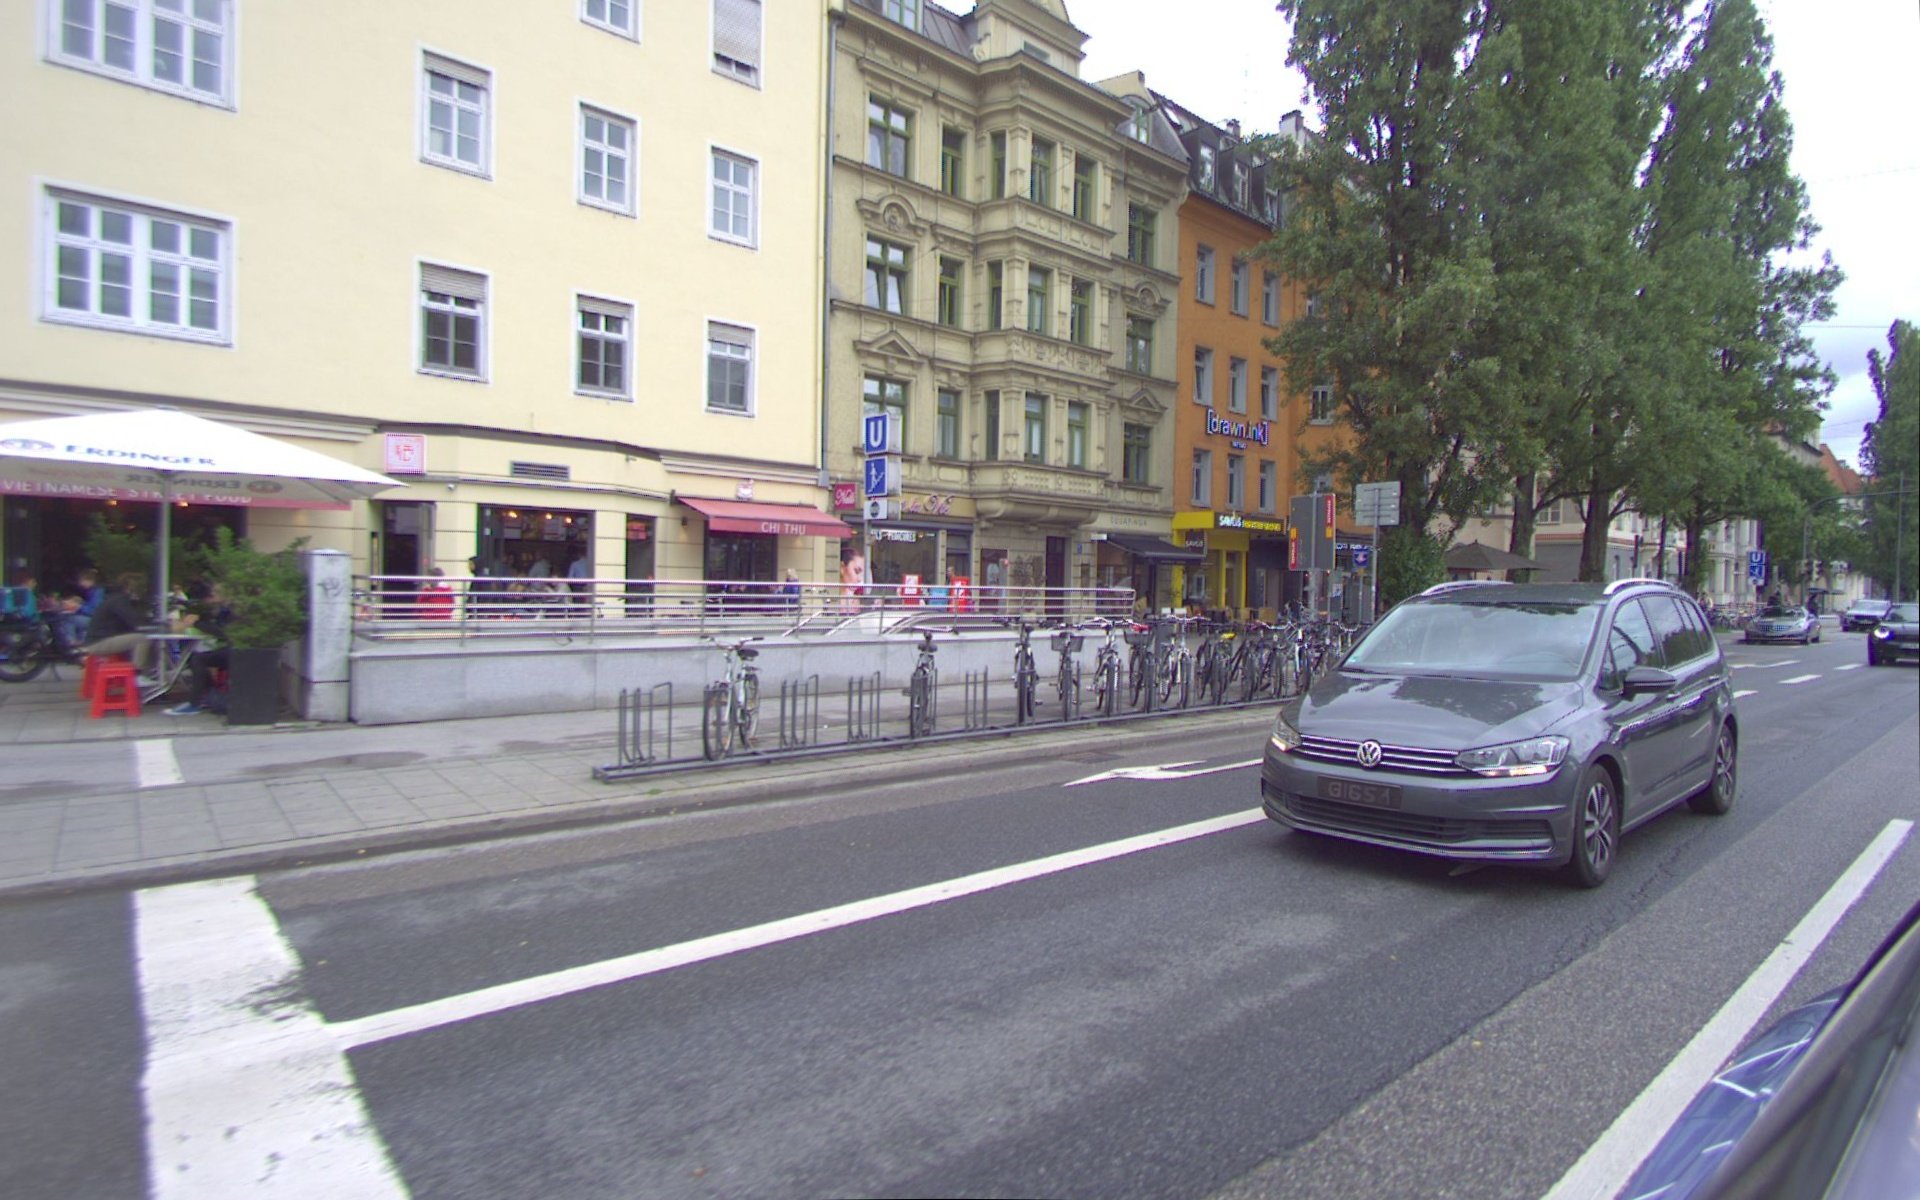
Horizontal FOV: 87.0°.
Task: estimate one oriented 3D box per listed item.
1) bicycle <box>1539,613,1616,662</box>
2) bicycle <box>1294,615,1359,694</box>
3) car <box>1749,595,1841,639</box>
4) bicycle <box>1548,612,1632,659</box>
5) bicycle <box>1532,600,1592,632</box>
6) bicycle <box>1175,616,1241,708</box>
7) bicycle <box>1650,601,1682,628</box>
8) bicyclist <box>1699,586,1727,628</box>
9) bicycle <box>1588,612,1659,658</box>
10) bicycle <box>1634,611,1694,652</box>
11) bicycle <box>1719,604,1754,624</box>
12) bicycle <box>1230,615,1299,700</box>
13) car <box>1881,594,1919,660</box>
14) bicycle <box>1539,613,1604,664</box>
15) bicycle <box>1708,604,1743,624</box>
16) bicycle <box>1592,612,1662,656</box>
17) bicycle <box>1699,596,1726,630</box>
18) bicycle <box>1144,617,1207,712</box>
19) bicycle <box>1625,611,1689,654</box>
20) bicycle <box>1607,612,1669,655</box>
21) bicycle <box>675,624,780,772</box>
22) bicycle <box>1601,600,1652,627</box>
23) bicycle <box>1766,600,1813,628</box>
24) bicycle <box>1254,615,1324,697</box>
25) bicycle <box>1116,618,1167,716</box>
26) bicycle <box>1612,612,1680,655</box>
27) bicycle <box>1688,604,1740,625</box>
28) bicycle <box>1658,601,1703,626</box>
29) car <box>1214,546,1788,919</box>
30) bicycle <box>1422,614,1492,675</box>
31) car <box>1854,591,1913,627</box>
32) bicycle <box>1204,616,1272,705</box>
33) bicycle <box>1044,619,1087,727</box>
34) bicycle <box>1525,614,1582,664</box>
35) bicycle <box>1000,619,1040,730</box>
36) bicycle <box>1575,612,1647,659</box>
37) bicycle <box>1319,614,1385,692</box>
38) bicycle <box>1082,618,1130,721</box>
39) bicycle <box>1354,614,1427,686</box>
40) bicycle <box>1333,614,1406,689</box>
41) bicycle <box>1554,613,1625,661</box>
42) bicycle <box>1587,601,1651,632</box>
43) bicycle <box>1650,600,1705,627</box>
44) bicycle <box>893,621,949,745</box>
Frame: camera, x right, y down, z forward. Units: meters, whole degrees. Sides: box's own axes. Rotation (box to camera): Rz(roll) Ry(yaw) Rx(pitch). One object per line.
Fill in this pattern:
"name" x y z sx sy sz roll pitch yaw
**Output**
"bicycle" 13.503 0.804 22.202 0.318 1.008 1.845 2 0 -8
"bicycle" 5.401 0.774 14.997 0.341 1.008 1.841 1 2 3
"car" 30.356 0.579 36.757 4.453 1.458 1.996 0 2 -43
"bicycle" 14.443 0.803 23.244 0.367 1.008 1.846 2 0 -16
"bicycle" 22.636 0.599 38.074 0.450 1.127 1.890 0 1 -43
"bicycle" 3.195 0.769 13.160 0.341 1.008 1.843 1 2 -1
"bicycle" 26.279 0.522 37.667 1.624 0.977 0.590 0 1 -41
"bicyclist" 29.491 0.276 39.627 0.923 1.623 0.681 0 1 -41
"bicycle" 15.691 0.806 23.970 0.368 1.008 1.843 2 0 -3
"bicycle" 18.201 0.806 26.217 0.368 1.008 1.840 1 0 4
"bicycle" 40.180 0.723 52.396 1.801 1.036 0.393 0 0 -14
"bicycle" 4.237 0.770 14.182 0.341 1.008 1.843 1 2 -1
"car" 23.828 0.602 24.533 3.901 1.523 1.778 0 0 -41
"bicycle" 13.084 0.803 21.706 0.319 1.008 1.841 1 0 2
"bicycle" 39.925 0.734 52.770 1.801 0.990 0.393 0 0 -14
"bicycle" 16.091 0.807 24.466 0.368 1.008 1.843 2 0 -3
"bicycle" 29.528 0.498 39.700 1.747 1.304 0.424 0 1 -40
"bicycle" 2.689 0.769 12.746 0.341 1.008 1.843 1 2 -1
"bicycle" 17.671 0.806 25.704 0.368 1.008 1.841 1 0 1
"bicycle" 16.663 0.806 24.911 0.368 1.008 1.840 1 0 3
"bicycle" -1.935 0.769 8.628 0.342 1.008 1.841 1 2 4
"bicycle" 28.577 0.571 43.403 0.439 1.123 1.802 1 0 -38
"bicycle" 34.483 0.575 42.077 0.352 1.116 1.747 1 1 -6
"bicycle" 4.721 0.770 14.607 0.341 1.008 1.843 1 2 -1
"bicycle" 2.184 0.769 12.298 0.341 1.008 1.841 1 2 2
"bicycle" 17.128 0.806 25.310 0.368 1.008 1.843 2 0 -2
"bicycle" 34.034 0.648 45.681 0.385 0.928 1.837 0 0 -39
"bicycle" 32.069 0.604 45.053 0.385 1.063 1.575 0 0 -39
"car" 3.816 0.597 6.715 4.625 1.668 1.774 0 -1 -40
"bicycle" 8.927 0.775 18.252 0.319 1.008 1.842 1 0 -1
"car" 46.886 0.425 51.359 4.425 1.681 1.735 0 2 -42
"bicycle" 3.701 0.769 13.585 0.341 1.008 1.843 1 2 -1
"bicycle" 1.168 0.769 11.396 0.341 1.008 1.841 1 2 2
"bicycle" 12.698 0.805 21.702 0.319 1.008 1.838 1 0 6
"bicycle" 0.675 0.770 11.116 0.342 1.008 1.840 1 2 5
"bicycle" 15.101 0.807 23.531 0.368 1.008 1.843 2 0 -3
"bicycle" 5.950 0.774 15.440 0.341 1.008 1.841 1 2 3
"bicycle" 1.691 0.770 11.869 0.341 1.008 1.841 1 2 2
"bicycle" 6.924 0.774 16.350 0.341 1.008 1.843 1 2 -1
"bicycle" 6.416 0.774 15.938 0.341 1.008 1.843 1 2 -1
"bicycle" 13.993 0.803 22.556 0.319 1.008 1.843 2 0 -3
"bicycle" 23.868 0.585 36.664 0.450 1.067 1.890 0 1 -43
"bicycle" 29.752 0.558 42.012 0.439 1.124 1.801 1 -1 -38
"bicycle" -0.365 0.770 10.052 0.342 1.008 1.841 1 2 4
